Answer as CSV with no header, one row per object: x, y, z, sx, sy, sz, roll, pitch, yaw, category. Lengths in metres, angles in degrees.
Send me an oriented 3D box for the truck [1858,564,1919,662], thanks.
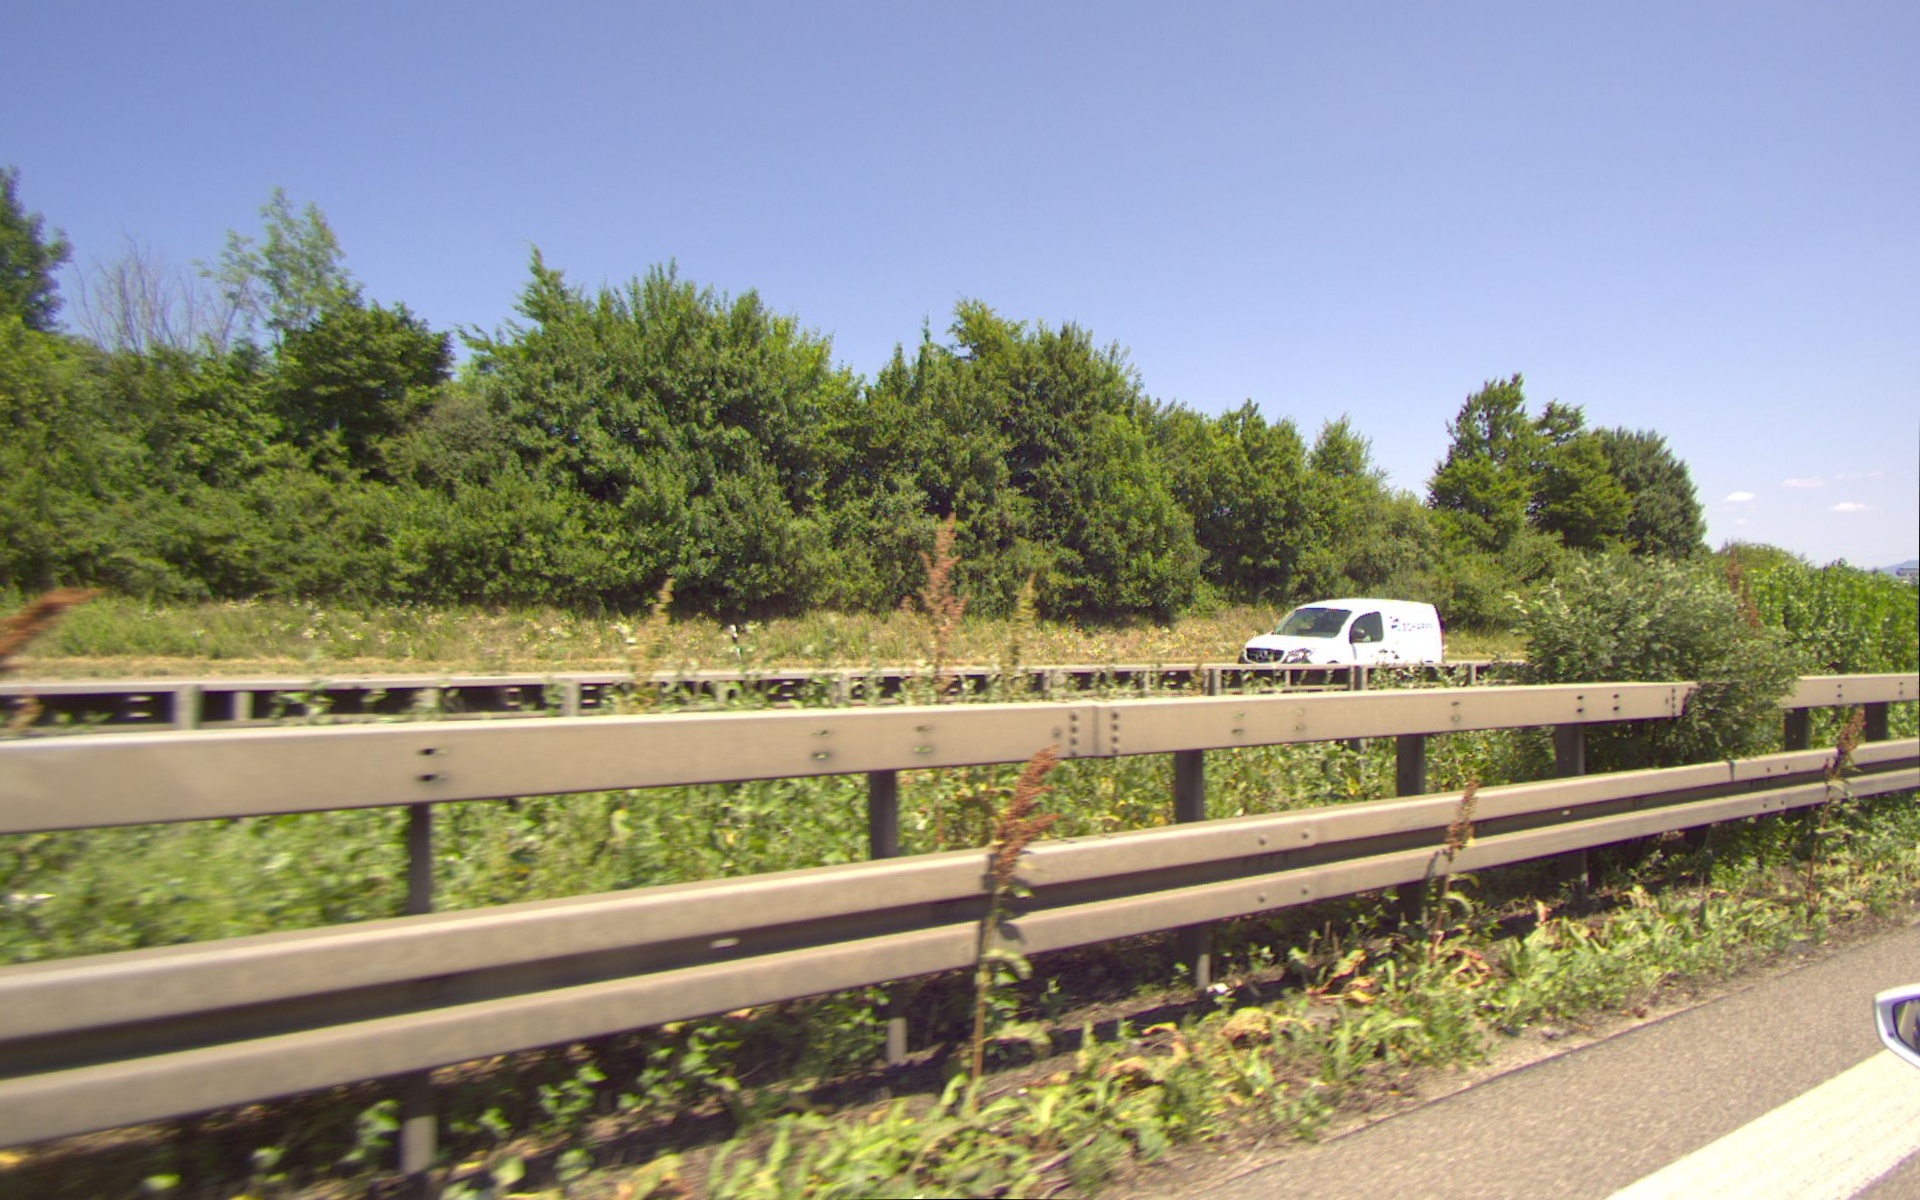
46.861,0.698,46.555,16.632,4.067,2.960,1,0,-31,truck

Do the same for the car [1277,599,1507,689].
8.371,0.831,19.312,4.812,1.534,1.492,2,0,-31,car
